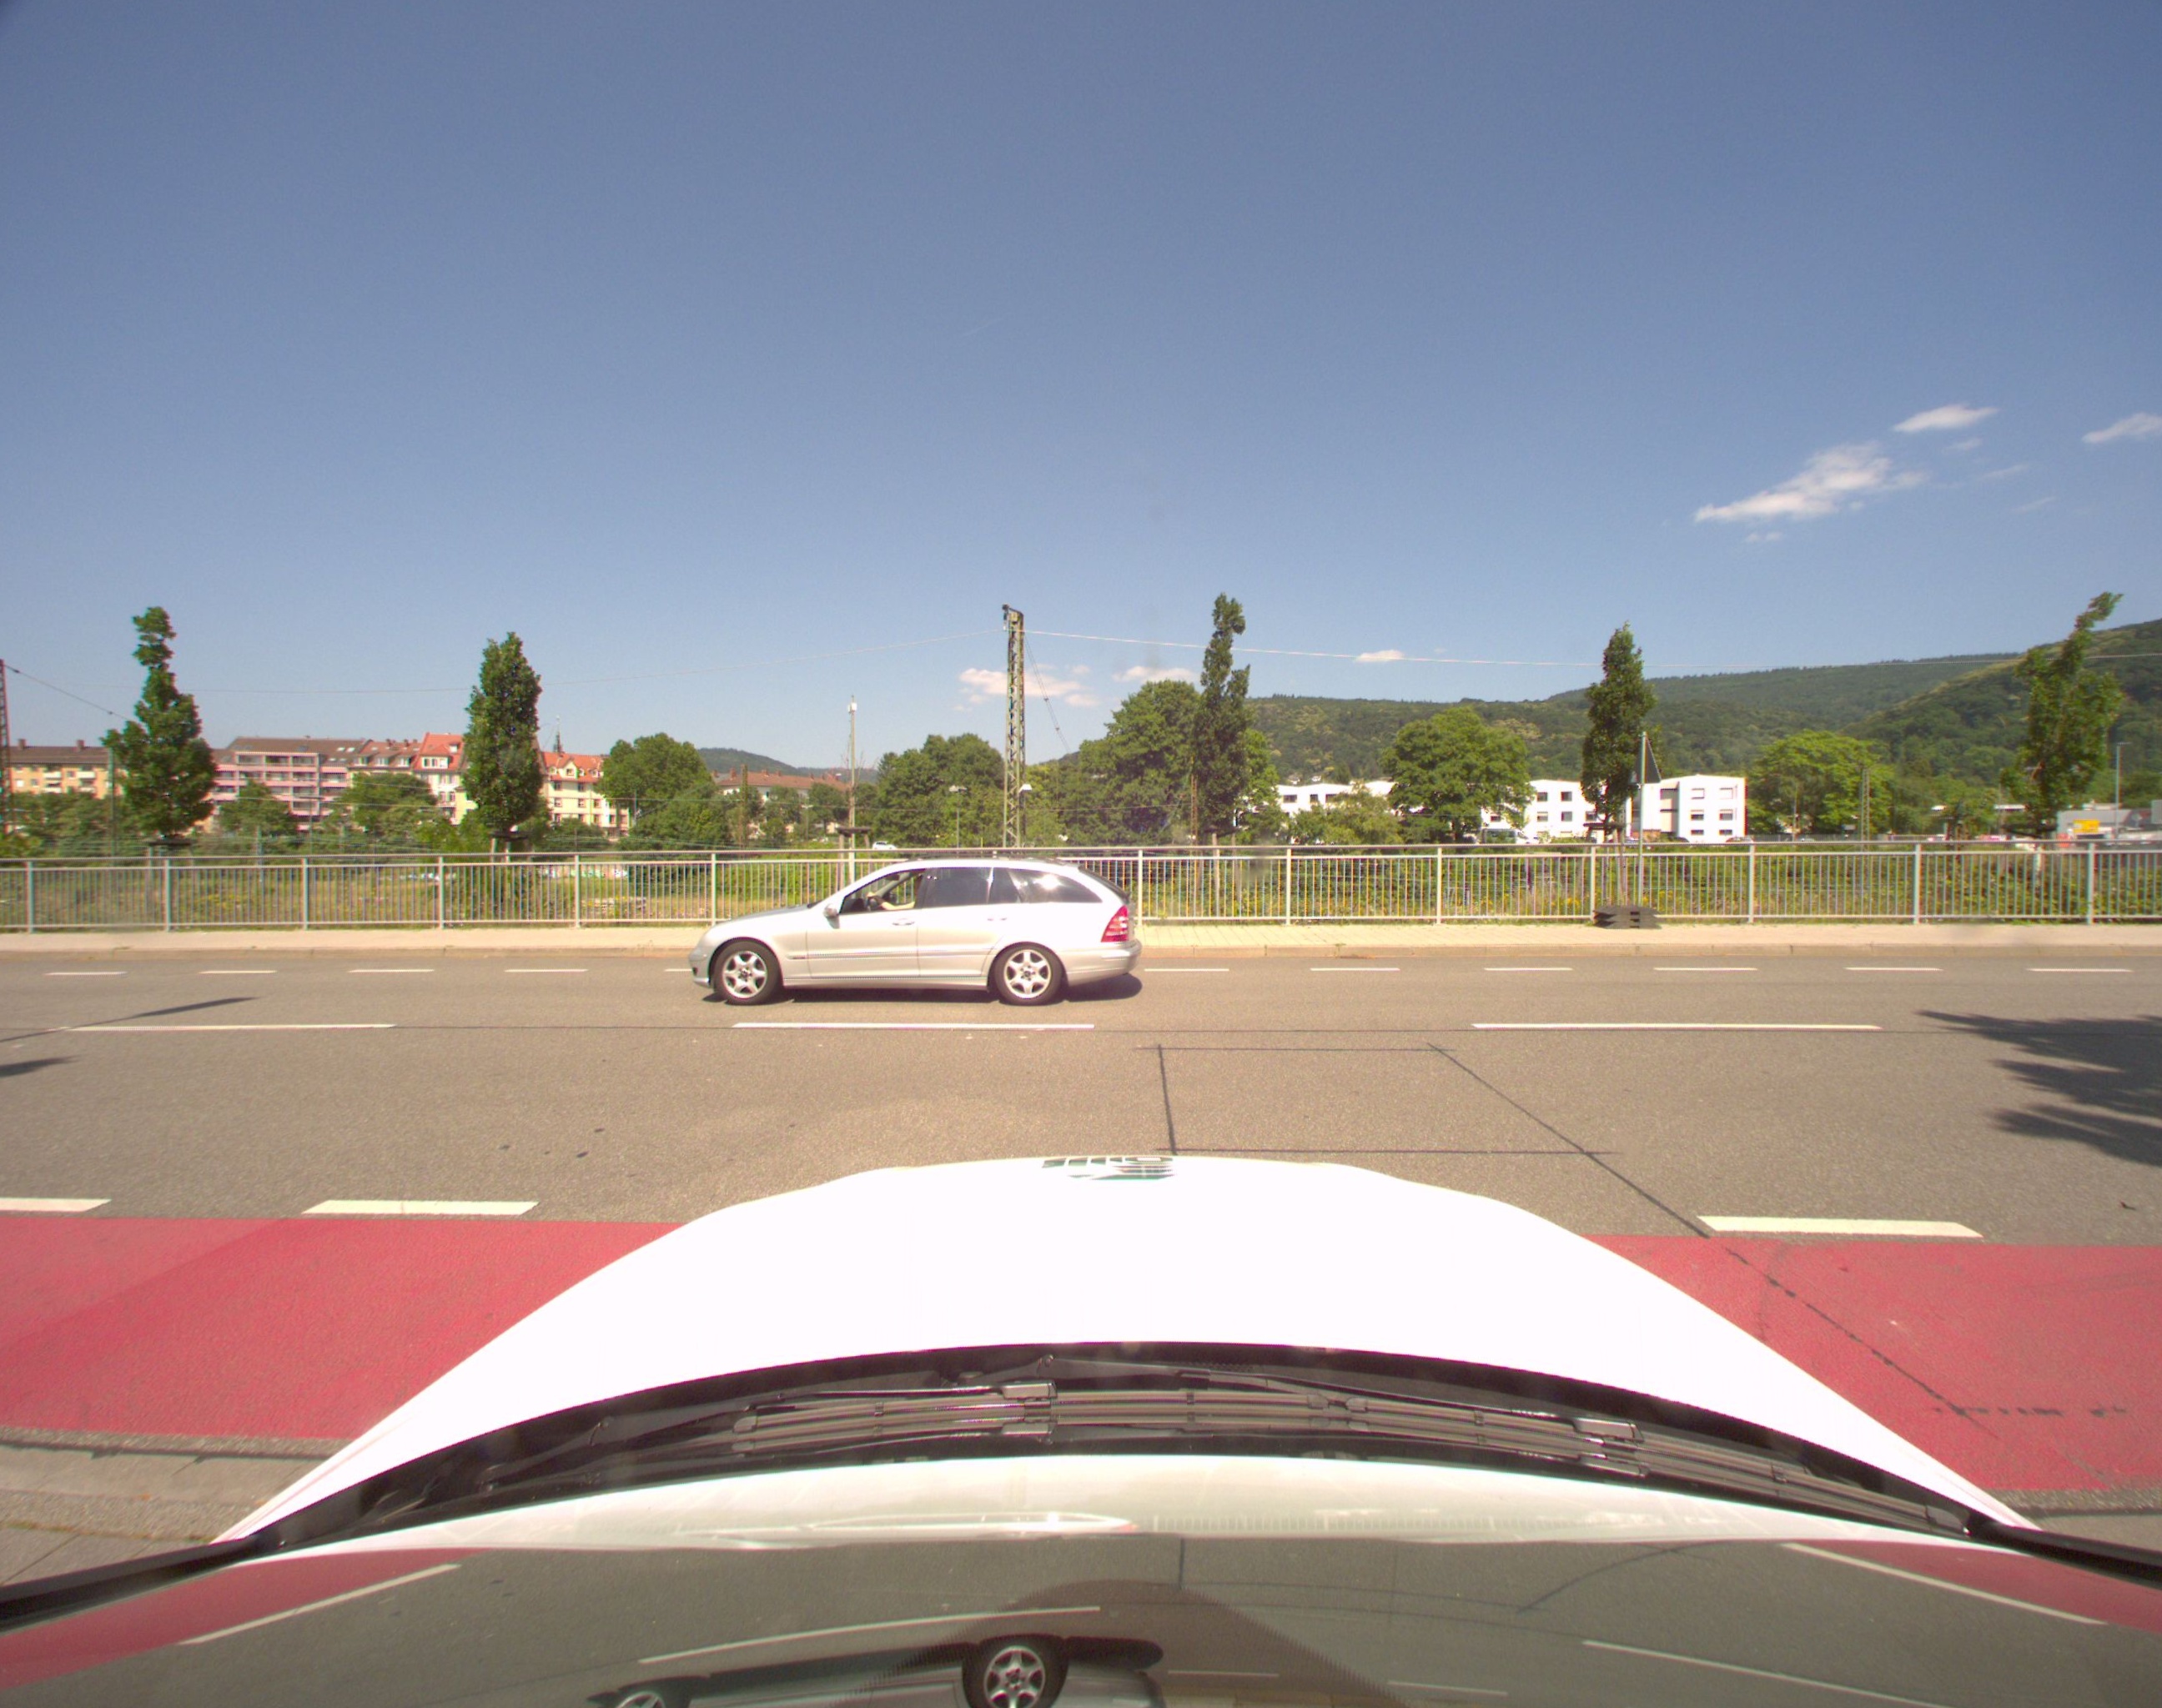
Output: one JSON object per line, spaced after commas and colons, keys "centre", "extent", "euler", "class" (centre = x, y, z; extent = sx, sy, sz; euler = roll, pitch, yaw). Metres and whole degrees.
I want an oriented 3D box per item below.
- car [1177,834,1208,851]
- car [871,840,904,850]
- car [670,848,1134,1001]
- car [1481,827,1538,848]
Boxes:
{"centre": [15.269, -1.564, 111.297], "extent": [3.888, 2.014, 1.764], "euler": [-2, -4, 20], "class": "car"}
{"centre": [-26.750, -1.199, 112.543], "extent": [4.260, 1.367, 1.878], "euler": [0, 1, 32], "class": "car"}
{"centre": [-1.643, 0.667, 8.420], "extent": [4.353, 1.404, 1.716], "euler": [-1, 0, 3], "class": "car"}
{"centre": [49.390, -1.925, 93.968], "extent": [5.462, 2.103, 2.142], "euler": [-2, -4, 13], "class": "car"}
